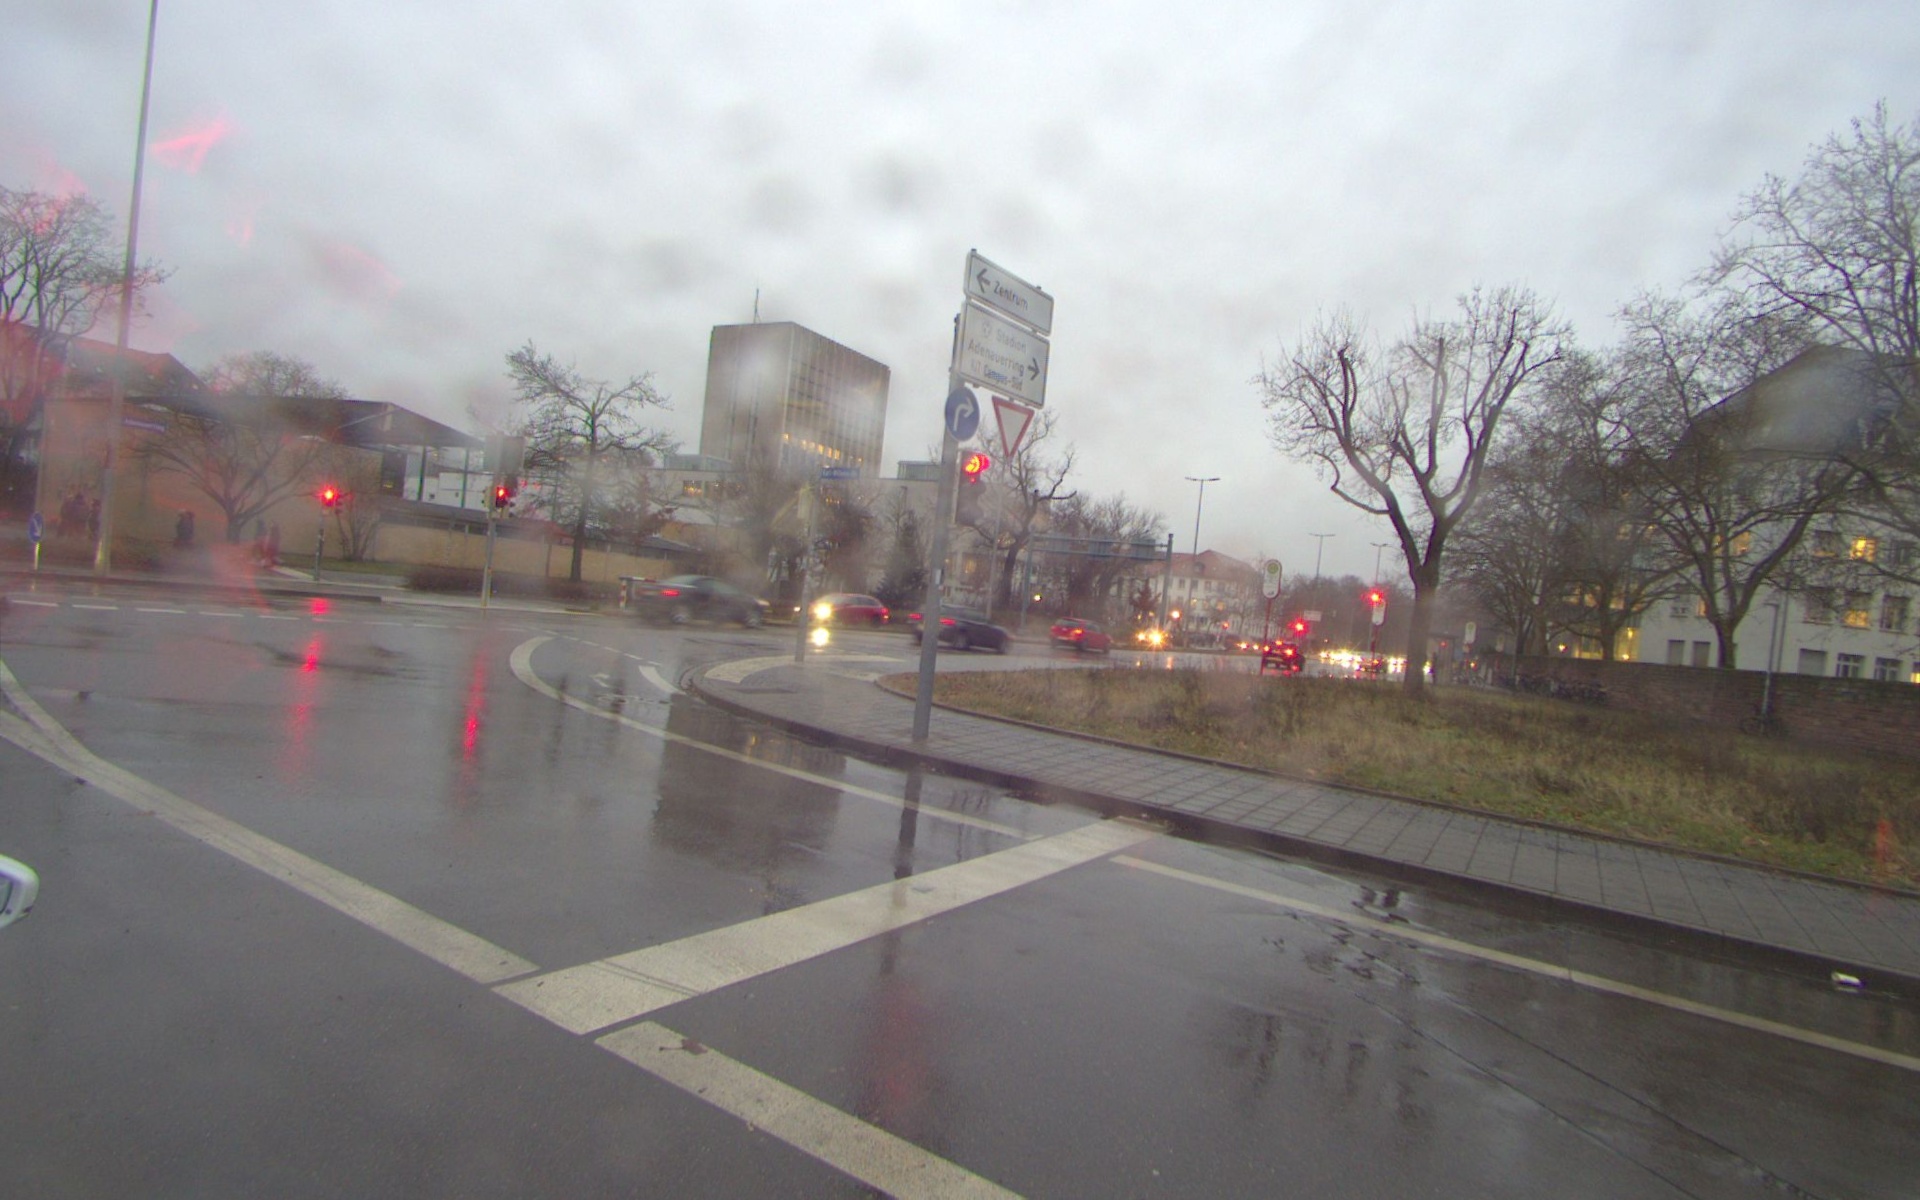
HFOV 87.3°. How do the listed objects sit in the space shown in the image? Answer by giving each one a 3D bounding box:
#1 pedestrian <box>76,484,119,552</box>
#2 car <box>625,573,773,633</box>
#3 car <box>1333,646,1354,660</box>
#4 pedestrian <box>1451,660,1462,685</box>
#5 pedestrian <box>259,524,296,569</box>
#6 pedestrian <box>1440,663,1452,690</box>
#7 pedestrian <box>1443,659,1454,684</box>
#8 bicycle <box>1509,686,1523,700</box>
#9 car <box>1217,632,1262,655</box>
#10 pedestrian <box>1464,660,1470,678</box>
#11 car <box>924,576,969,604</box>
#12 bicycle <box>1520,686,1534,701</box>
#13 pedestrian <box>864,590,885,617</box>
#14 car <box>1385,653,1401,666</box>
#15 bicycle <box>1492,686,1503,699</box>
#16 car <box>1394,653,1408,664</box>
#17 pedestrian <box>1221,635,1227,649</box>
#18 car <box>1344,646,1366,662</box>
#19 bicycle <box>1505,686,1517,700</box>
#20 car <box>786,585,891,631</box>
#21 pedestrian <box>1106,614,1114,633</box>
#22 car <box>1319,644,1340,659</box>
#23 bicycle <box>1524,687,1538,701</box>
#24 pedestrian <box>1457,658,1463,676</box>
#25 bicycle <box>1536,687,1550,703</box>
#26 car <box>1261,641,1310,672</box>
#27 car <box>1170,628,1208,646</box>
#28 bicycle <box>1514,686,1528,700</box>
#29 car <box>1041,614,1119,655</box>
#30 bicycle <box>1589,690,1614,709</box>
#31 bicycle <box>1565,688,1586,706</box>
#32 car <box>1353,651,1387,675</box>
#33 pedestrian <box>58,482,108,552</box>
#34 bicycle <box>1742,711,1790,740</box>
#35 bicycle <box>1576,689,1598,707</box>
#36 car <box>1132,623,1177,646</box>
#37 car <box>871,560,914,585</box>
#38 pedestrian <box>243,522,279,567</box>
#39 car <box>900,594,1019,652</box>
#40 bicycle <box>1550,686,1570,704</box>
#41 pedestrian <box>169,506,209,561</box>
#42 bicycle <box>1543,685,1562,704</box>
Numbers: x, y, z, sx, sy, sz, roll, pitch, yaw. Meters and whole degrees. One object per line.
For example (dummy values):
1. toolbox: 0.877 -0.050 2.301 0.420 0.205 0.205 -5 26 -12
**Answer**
1. pedestrian: -29.094 -2.769 33.936 0.874 2.141 0.890 8 2 44
2. car: -7.379 0.114 28.687 1.676 1.318 3.751 6 0 38
3. car: 53.428 7.385 140.174 1.966 1.783 3.992 7 1 29
4. pedestrian: 42.253 6.167 85.652 0.557 2.040 0.595 8 2 33
5. pedestrian: -25.335 -1.991 37.348 0.921 1.553 1.030 5 2 -42
6. pedestrian: 30.151 4.728 62.418 0.462 1.623 0.486 7 -1 25
7. pedestrian: 41.740 6.112 85.991 0.557 2.040 0.595 8 2 33
8. bicycle: 34.349 5.737 62.151 0.387 0.795 1.532 7 -2 20
9. car: 30.400 4.717 109.580 2.017 1.903 5.317 6 0 -17
10. pedestrian: 50.944 6.914 101.054 0.313 1.816 0.461 7 2 32
11. car: -1.327 -0.996 103.224 2.014 2.452 5.326 6 0 30
12. bicycle: 33.322 5.483 59.145 0.387 0.795 1.532 7 -2 20
13. pedestrian: -5.641 0.231 66.440 0.783 1.624 0.960 8 2 39
14. car: 69.413 9.468 161.344 1.965 1.783 3.993 7 1 27
15. bicycle: 36.390 6.242 68.106 0.387 0.795 1.532 7 -2 20
16. car: 78.334 10.388 178.730 1.834 1.783 3.993 7 1 27
17. pedestrian: 32.970 5.243 125.667 0.404 1.713 0.561 7 2 28
18. car: 51.645 7.062 131.491 1.966 1.783 3.992 7 1 29
19. bicycle: 34.850 5.862 63.626 0.387 0.795 1.532 7 -2 20
20. car: -4.952 0.368 41.594 1.782 1.496 4.415 6 0 33
21. pedestrian: 14.048 2.233 94.059 0.411 1.725 0.430 8 3 44
22. car: 49.287 6.854 134.147 1.966 1.783 3.992 7 1 29
23. bicycle: 32.840 5.400 57.866 0.387 0.795 1.532 7 -2 19
24. pedestrian: 50.648 6.821 101.871 0.313 1.816 0.461 7 2 32
25. bicycle: 32.412 5.286 55.952 0.387 0.795 1.607 7 -2 22
26. car: 20.942 3.650 64.596 1.812 1.710 4.312 6 -1 33
27. car: 28.250 4.565 124.134 3.936 1.784 1.994 7 1 34
28. bicycle: 33.828 5.610 60.663 0.387 0.795 1.532 7 -2 20
29. car: 5.700 1.641 47.429 1.812 1.602 4.125 6 0 34
30. bicycle: 30.274 4.669 47.476 0.352 0.795 1.415 7 -2 8
31. bicycle: 31.037 4.872 50.744 0.343 0.848 1.493 7 -2 13
32. car: 34.301 5.285 84.068 1.811 1.710 4.311 6 0 32
33. pedestrian: -28.559 -2.690 32.769 0.871 2.141 0.893 7 2 32
34. bicycle: 28.201 4.397 35.225 0.387 0.834 1.386 7 -2 -4
35. bicycle: 30.548 4.765 49.000 0.387 0.795 1.533 7 -2 14
36. car: 15.140 2.689 78.164 1.782 1.496 4.416 6 0 32
37. car: -7.128 -2.927 106.414 2.014 2.102 4.892 6 0 30
38. pedestrian: -26.345 -2.105 37.919 0.890 1.553 0.875 5 2 -43
39. car: 0.034 0.814 33.675 1.813 1.602 4.123 6 0 36
40. bicycle: 31.356 4.976 52.556 0.387 0.868 1.532 7 -2 15
41. pedestrian: -27.792 -2.395 36.244 0.992 1.823 0.908 5 2 -41
42. bicycle: 31.841 5.071 54.087 0.387 0.927 1.532 7 -2 15
